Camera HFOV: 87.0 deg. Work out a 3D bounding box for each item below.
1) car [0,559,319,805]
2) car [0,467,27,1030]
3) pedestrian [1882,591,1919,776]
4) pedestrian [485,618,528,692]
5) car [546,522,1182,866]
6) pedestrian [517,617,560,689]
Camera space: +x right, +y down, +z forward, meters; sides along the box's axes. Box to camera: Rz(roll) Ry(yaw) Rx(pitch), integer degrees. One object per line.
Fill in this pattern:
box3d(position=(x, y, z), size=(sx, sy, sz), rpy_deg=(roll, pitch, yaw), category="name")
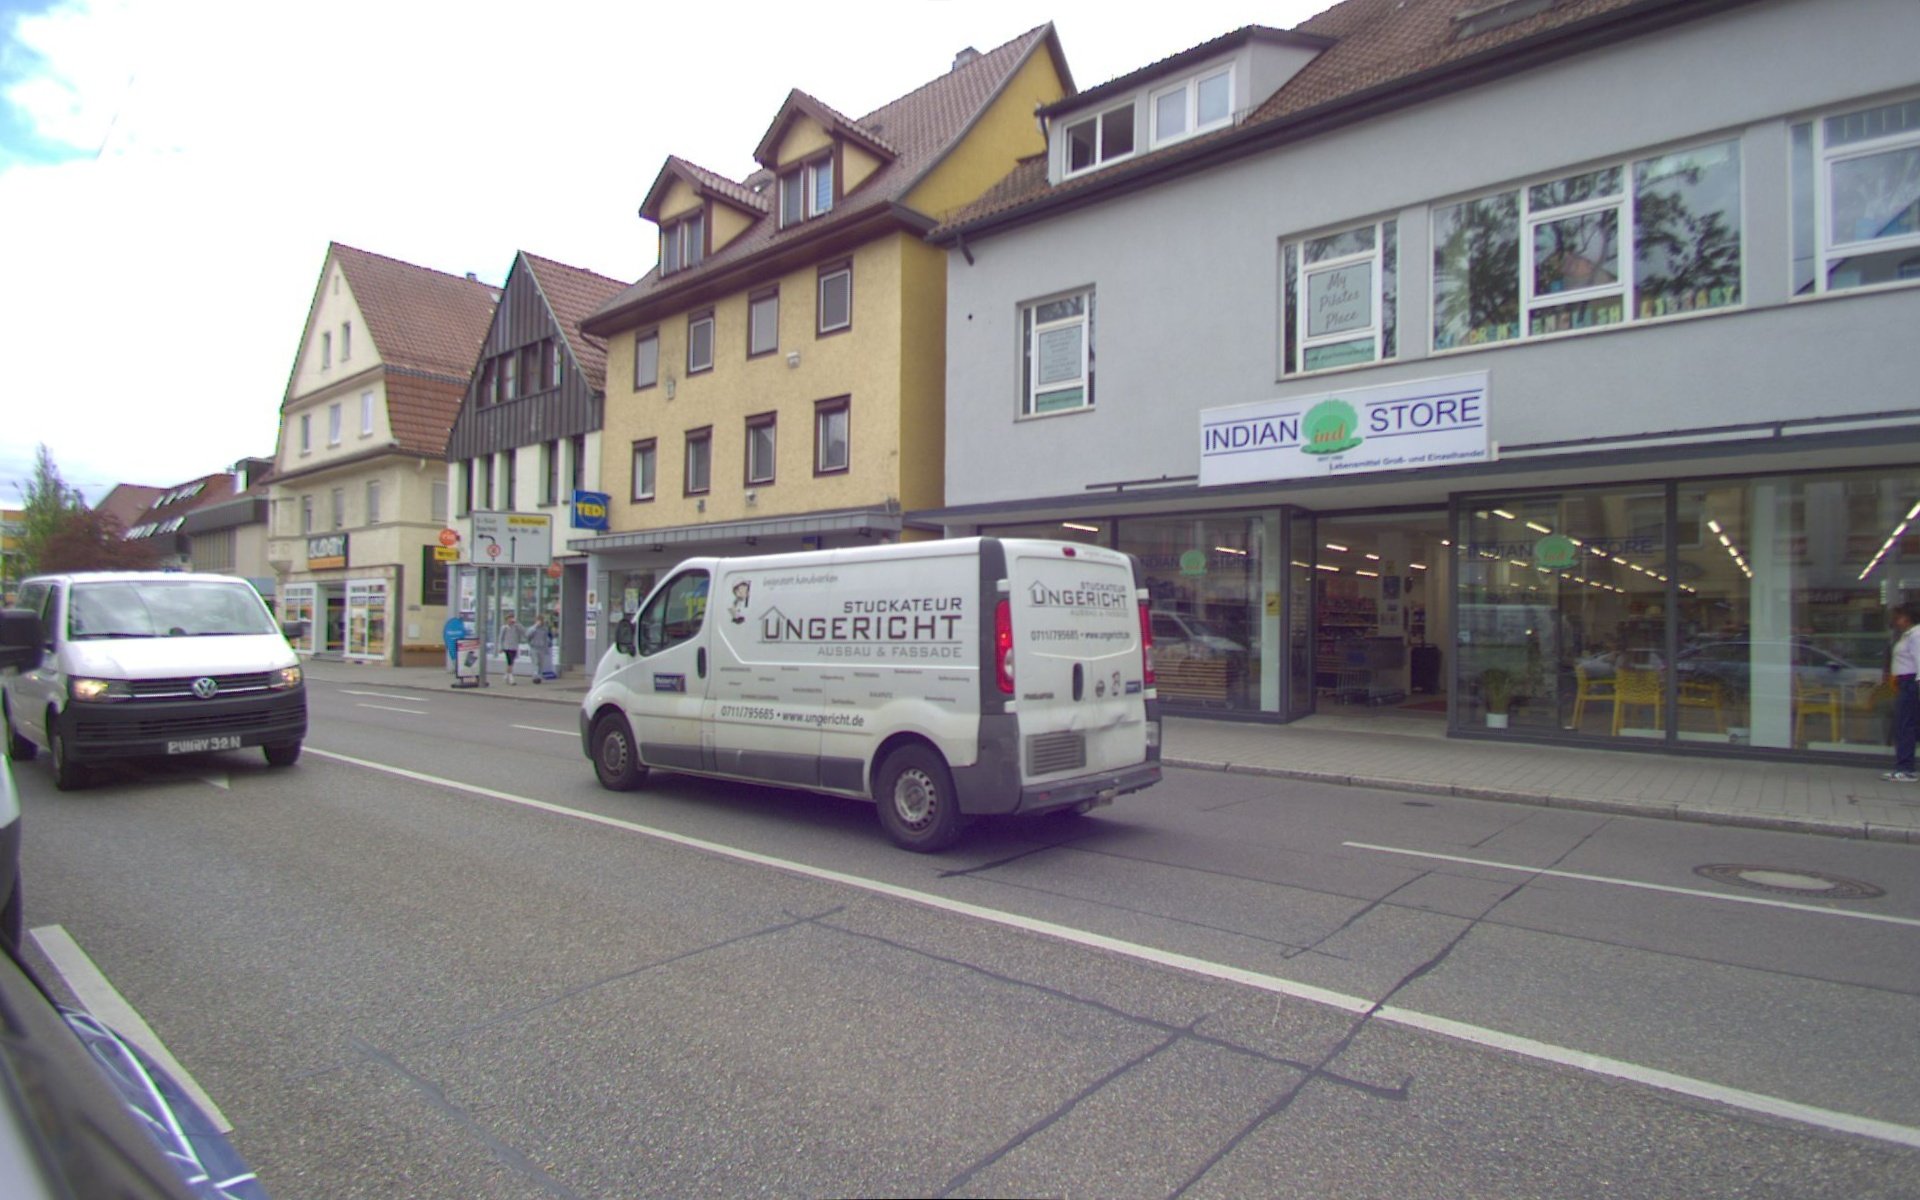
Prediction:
box3d(position=(-8.426, 0.726, 10.411), size=(4.850, 1.974, 1.806), rpy_deg=(-2, -2, 41), category="car")
box3d(position=(-5.902, 0.567, 4.547), size=(5.161, 1.974, 1.939), rpy_deg=(-1, -1, 41), category="car")
box3d(position=(8.775, 0.734, 9.026), size=(0.752, 1.622, 0.720), rpy_deg=(-2, -2, 41), category="pedestrian")
box3d(position=(-10.778, 1.287, 24.034), size=(0.742, 1.703, 0.680), rpy_deg=(-2, -1, 41), category="pedestrian")
box3d(position=(-1.032, 0.609, 8.034), size=(5.154, 1.902, 1.973), rpy_deg=(-2, -3, 40), category="car")
box3d(position=(-10.207, 1.268, 24.511), size=(0.709, 1.683, 0.681), rpy_deg=(-2, 0, 41), category="pedestrian")
